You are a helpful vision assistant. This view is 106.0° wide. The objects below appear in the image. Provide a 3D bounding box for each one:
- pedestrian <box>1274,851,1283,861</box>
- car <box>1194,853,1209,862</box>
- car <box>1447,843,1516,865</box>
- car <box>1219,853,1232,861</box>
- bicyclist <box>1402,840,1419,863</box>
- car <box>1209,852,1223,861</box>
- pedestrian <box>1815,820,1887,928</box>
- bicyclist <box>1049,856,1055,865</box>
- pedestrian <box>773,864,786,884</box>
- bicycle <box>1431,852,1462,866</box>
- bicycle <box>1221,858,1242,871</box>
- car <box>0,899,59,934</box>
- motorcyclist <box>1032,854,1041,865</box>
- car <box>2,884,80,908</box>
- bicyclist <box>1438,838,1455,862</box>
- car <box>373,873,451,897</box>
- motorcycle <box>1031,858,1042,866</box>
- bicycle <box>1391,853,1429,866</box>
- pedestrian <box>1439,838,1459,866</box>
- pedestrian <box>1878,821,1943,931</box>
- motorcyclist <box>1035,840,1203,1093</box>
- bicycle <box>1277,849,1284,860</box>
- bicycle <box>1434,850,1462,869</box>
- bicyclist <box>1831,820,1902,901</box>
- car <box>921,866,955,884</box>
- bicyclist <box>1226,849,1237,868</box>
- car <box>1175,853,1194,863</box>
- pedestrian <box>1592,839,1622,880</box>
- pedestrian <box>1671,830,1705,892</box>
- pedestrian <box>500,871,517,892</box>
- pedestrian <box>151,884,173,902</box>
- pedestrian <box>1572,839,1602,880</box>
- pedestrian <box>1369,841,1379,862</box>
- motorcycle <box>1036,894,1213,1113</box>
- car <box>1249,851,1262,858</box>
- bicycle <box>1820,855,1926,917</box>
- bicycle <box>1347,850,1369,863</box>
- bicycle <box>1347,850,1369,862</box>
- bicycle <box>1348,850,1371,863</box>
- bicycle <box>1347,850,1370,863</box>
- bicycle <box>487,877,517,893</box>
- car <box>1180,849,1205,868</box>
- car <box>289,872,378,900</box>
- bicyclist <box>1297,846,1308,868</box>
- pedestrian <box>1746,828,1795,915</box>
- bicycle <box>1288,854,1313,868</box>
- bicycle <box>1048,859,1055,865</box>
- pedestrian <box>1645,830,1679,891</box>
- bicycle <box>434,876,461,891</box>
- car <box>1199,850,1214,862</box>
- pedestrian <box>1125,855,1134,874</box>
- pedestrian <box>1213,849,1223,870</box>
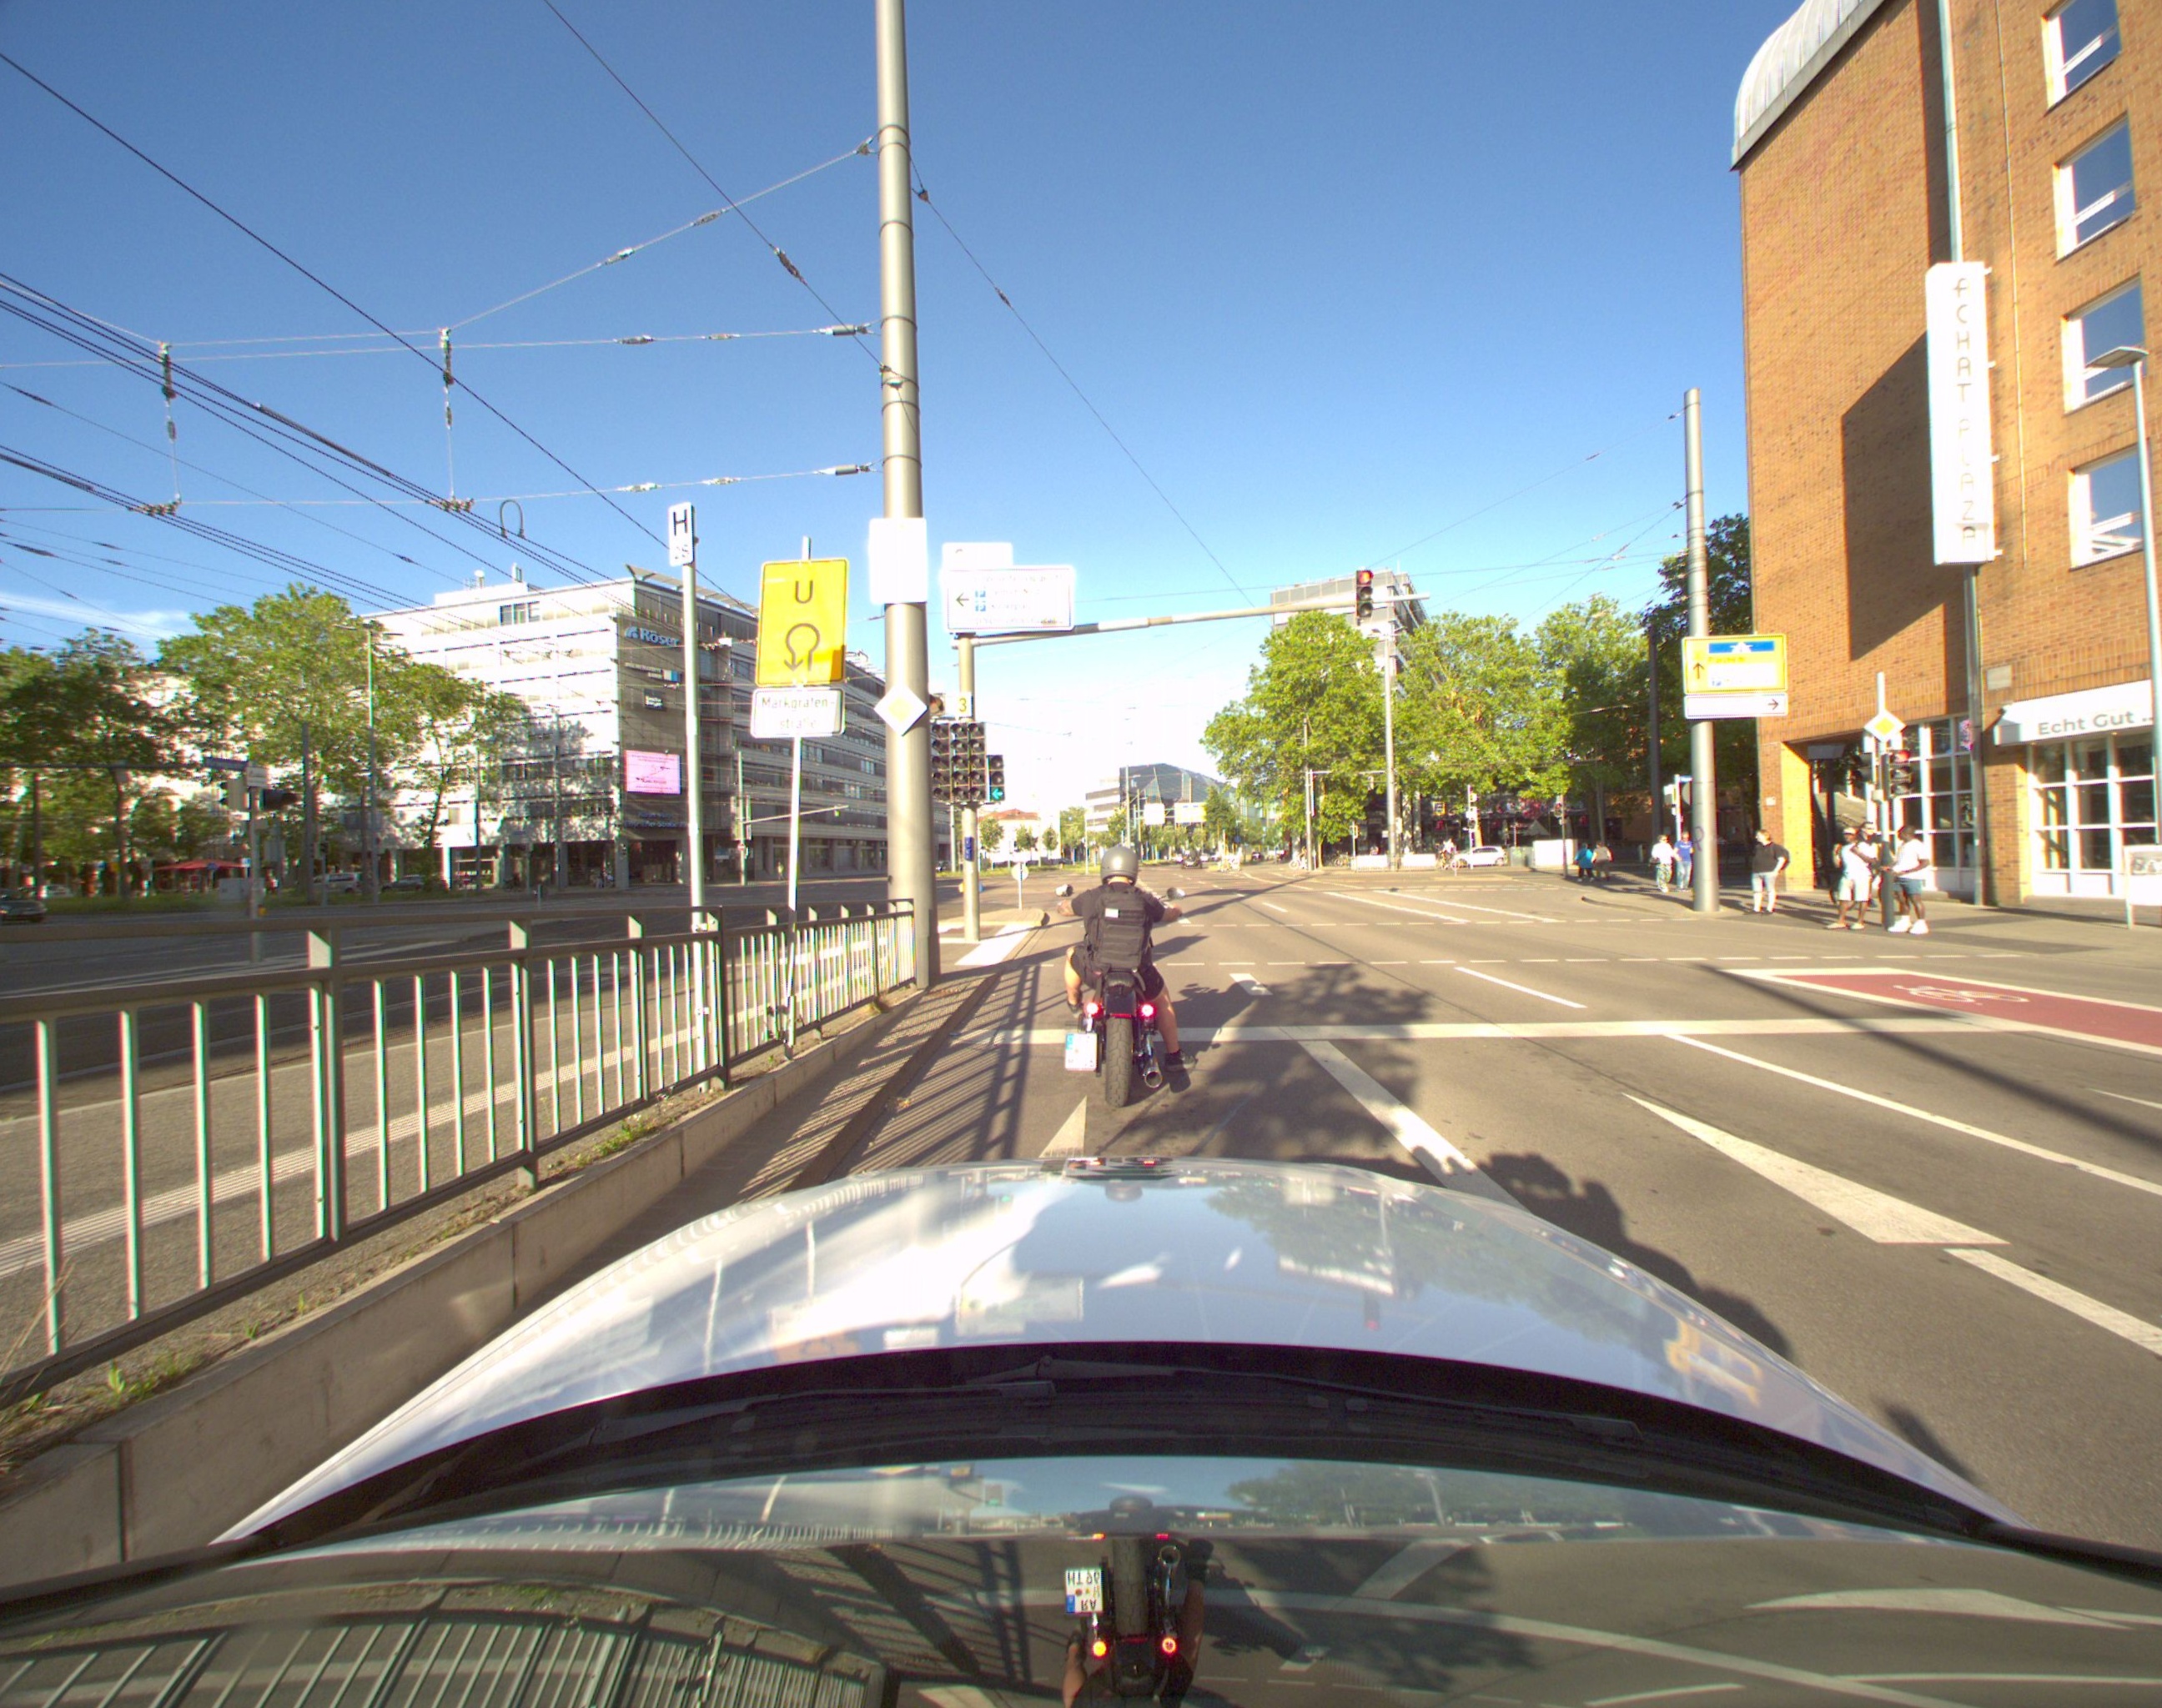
[{"bbox_3d":[21.945,0.220,90.322,0.777,1.057,0.819,-2,0,24],"label":"pedestrian"},{"bbox_3d":[20.274,0.594,136.530,1.759,1.514,3.750,-2,0,19],"label":"car"},{"bbox_3d":[28.459,0.000,57.953,3.967,1.486,2.003,0,-1,6],"label":"car"},{"bbox_3d":[27.657,0.520,155.751,1.705,1.484,3.774,-2,0,22],"label":"car"},{"bbox_3d":[29.132,-0.220,71.945,1.218,1.931,0.838,-1,0,14],"label":"bicyclist"},{"bbox_3d":[24.501,0.431,148.107,1.705,1.657,3.774,-2,0,22],"label":"car"},{"bbox_3d":[13.510,0.346,14.297,0.500,1.833,0.725,-3,-1,-33],"label":"pedestrian"},{"bbox_3d":[-5.294,1.209,146.979,0.757,1.667,0.999,-1,0,20],"label":"bicyclist"},{"bbox_3d":[-28.169,1.876,76.205,0.670,1.823,0.889,-3,-1,15],"label":"pedestrian"},{"bbox_3d":[25.258,0.368,56.269,1.844,0.910,0.653,-2,0,6],"label":"bicycle"},{"bbox_3d":[12.371,0.843,67.038,1.612,1.021,0.519,-2,-1,25],"label":"bicycle"},{"bbox_3d":[-44.800,2.560,33.407,3.599,1.328,1.655,0,-1,-1],"label":"car"},{"bbox_3d":[-7.548,0.929,137.995,1.012,1.731,1.466,-2,0,13],"label":"motorcyclist"},{"bbox_3d":[-79.775,3.217,62.491,3.835,1.638,1.869,-2,0,6],"label":"car"},{"bbox_3d":[25.249,-0.275,56.261,0.921,1.615,0.638,-2,0,5],"label":"bicyclist"},{"bbox_3d":[-50.420,2.346,61.425,4.378,1.572,1.869,-2,2,6],"label":"car"},{"bbox_3d":[-7.563,1.370,137.871,0.976,1.232,2.953,-2,0,13],"label":"motorcycle"},{"bbox_3d":[29.034,0.466,71.960,3.019,1.113,0.838,-1,0,13],"label":"bicycle"},{"bbox_3d":[21.211,-0.132,46.977,0.767,1.594,0.838,0,-1,1],"label":"pedestrian"},{"bbox_3d":[13.758,0.358,13.513,0.402,1.774,0.580,-3,-1,8],"label":"pedestrian"},{"bbox_3d":[0.254,0.695,5.661,1.018,1.552,1.287,0,0,1],"label":"motorcyclist"},{"bbox_3d":[27.609,0.051,112.639,0.853,1.481,2.588,-2,0,17],"label":"bicycle"},{"bbox_3d":[21.195,0.332,47.027,0.786,1.052,1.924,0,-1,2],"label":"bicycle"},{"bbox_3d":[15.526,0.105,16.116,0.574,1.515,0.854,-6,1,16],"label":"bicyclist"},{"bbox_3d":[-13.904,2.037,79.291,1.780,1.465,4.324,-2,0,10],"label":"car"},{"bbox_3d":[12.373,0.359,67.028,0.736,1.503,0.573,-2,-1,25],"label":"bicyclist"},{"bbox_3d":[15.645,0.604,122.810,1.886,1.508,4.020,-1,-1,20],"label":"car"},{"bbox_3d":[20.412,0.214,31.638,0.649,1.540,0.741,0,-1,-6],"label":"pedestrian"},{"bbox_3d":[17.321,0.198,23.254,0.597,1.727,0.605,-1,-1,17],"label":"pedestrian"},{"bbox_3d":[-43.681,2.097,62.123,0.831,1.610,0.607,0,3,5],"label":"pedestrian"},{"bbox_3d":[-81.914,3.439,72.604,0.985,1.546,0.875,-2,-1,9],"label":"pedestrian"},{"bbox_3d":[19.540,0.204,31.444,0.674,1.540,0.741,0,-1,-6],"label":"pedestrian"},{"bbox_3d":[26.407,-0.197,73.403,0.840,1.852,0.813,1,0,16],"label":"pedestrian"},{"bbox_3d":[0.287,0.912,5.810,1.002,1.125,2.324,0,0,2],"label":"motorcycle"},{"bbox_3d":[34.498,0.096,160.857,1.826,1.464,4.020,-1,-1,20],"label":"car"},{"bbox_3d":[15.546,0.593,16.045,0.596,1.050,1.890,-6,0,16],"label":"bicycle"},{"bbox_3d":[22.761,0.184,66.914,1.692,0.986,0.392,-2,0,15],"label":"bicycle"},{"bbox_3d":[22.903,0.175,67.373,1.692,0.986,0.392,-2,0,15],"label":"bicycle"},{"bbox_3d":[22.312,0.184,65.168,1.692,0.986,0.392,-2,0,15],"label":"bicycle"},{"bbox_3d":[22.508,0.220,66.009,1.692,0.986,0.392,-2,0,15],"label":"bicycle"},{"bbox_3d":[-43.812,2.323,61.638,1.834,1.163,0.613,-1,3,3],"label":"bicycle"},{"bbox_3d":[11.430,0.445,83.321,2.038,1.874,4.242,-1,-1,13],"label":"car"},{"bbox_3d":[-56.274,2.395,61.330,4.888,1.843,1.930,-2,2,3],"label":"car"},{"bbox_3d":[17.644,0.221,64.895,0.737,1.694,0.572,-2,-1,13],"label":"bicyclist"},{"bbox_3d":[14.342,0.349,16.944,0.577,1.767,0.687,-1,1,-39],"label":"pedestrian"},{"bbox_3d":[17.493,0.564,64.943,1.840,1.021,0.518,-2,-1,13],"label":"bicycle"},{"bbox_3d":[-5.263,1.425,146.984,0.637,1.107,1.693,-1,0,20],"label":"bicycle"},{"bbox_3d":[16.608,0.187,23.290,0.557,1.704,0.661,-1,-1,15],"label":"pedestrian"},{"bbox_3d":[-51.203,2.365,65.851,0.466,1.151,1.844,-1,1,9],"label":"bicycle"},{"bbox_3d":[21.813,0.330,141.098,1.804,1.818,3.964,-2,0,20],"label":"car"},{"bbox_3d":[4.118,0.869,69.094,0.654,1.582,0.490,-1,0,5],"label":"pedestrian"},{"bbox_3d":[11.642,0.473,69.166,0.693,1.837,0.518,-1,-1,37],"label":"pedestrian"}]
